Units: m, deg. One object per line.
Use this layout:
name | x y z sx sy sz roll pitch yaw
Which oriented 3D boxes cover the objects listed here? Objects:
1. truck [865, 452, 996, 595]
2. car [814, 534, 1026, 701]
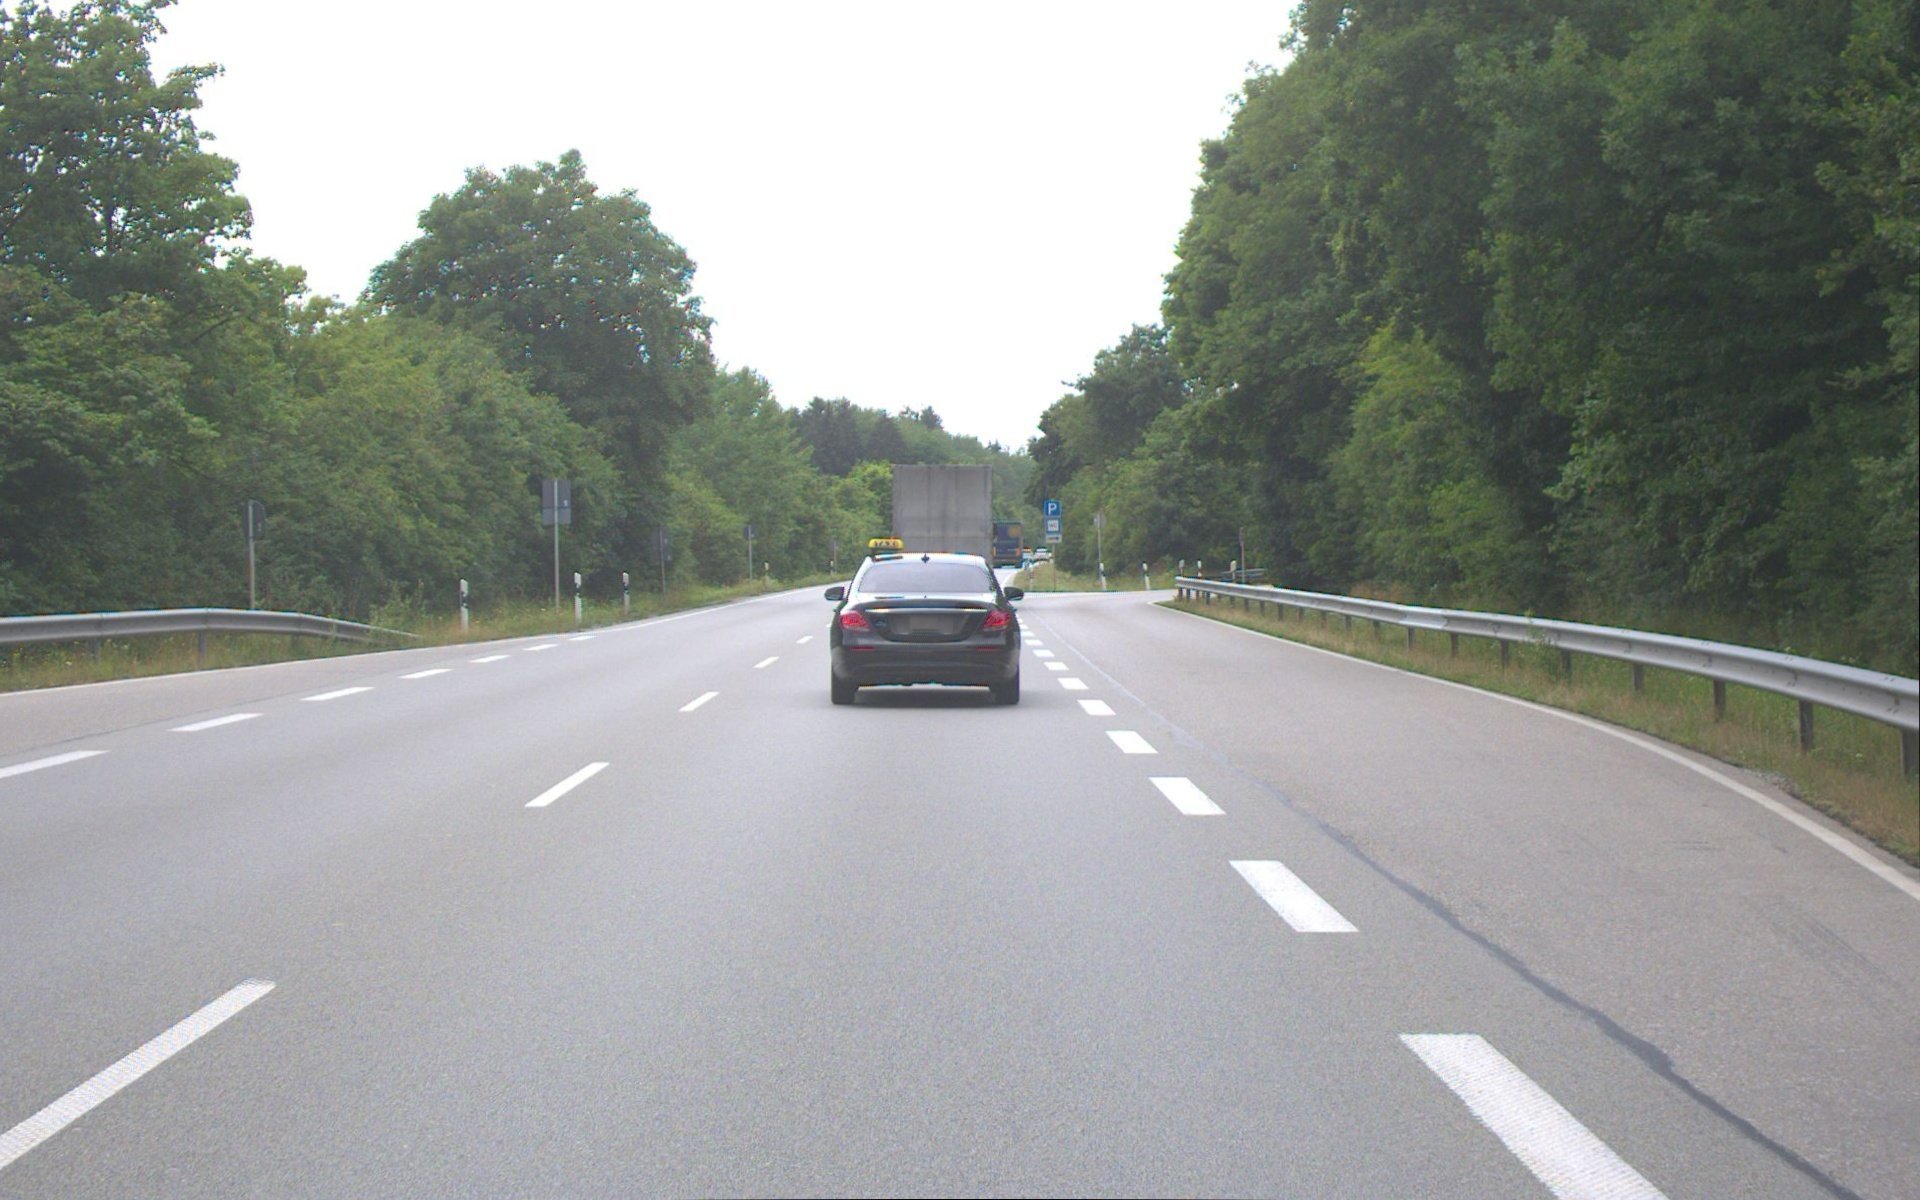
truck | -0.854 -2.017 92.535 3.281 3.599 11.401 0 1 -1
car | -0.460 0.134 34.225 1.791 1.546 4.001 0 1 -5
